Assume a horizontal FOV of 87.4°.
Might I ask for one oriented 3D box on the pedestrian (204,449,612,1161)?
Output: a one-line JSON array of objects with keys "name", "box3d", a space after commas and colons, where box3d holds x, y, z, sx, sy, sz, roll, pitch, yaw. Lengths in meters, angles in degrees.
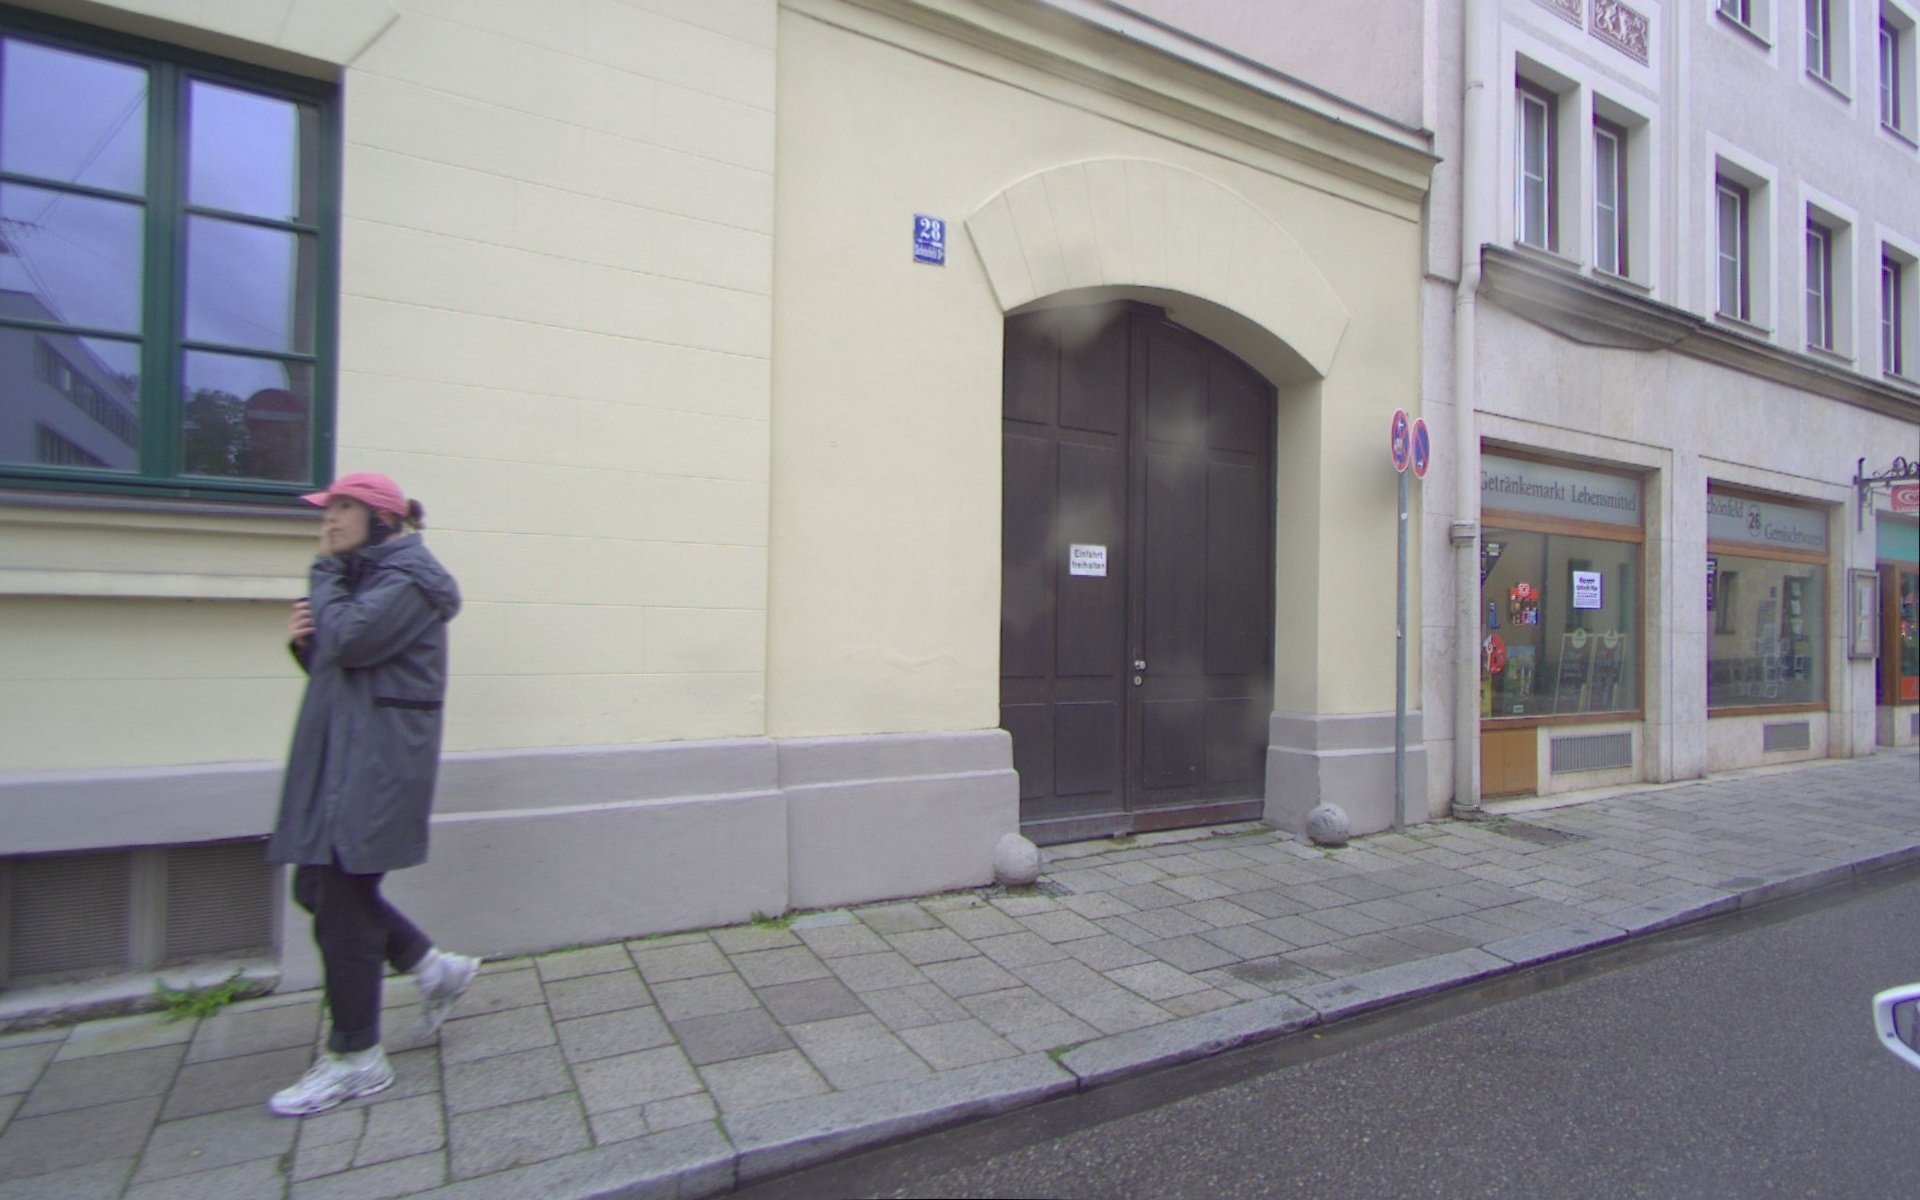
[{"name": "pedestrian", "box3d": [-1.676, 0.514, 3.113, 0.979, 1.779, 0.805, 0, 0, -32]}]
